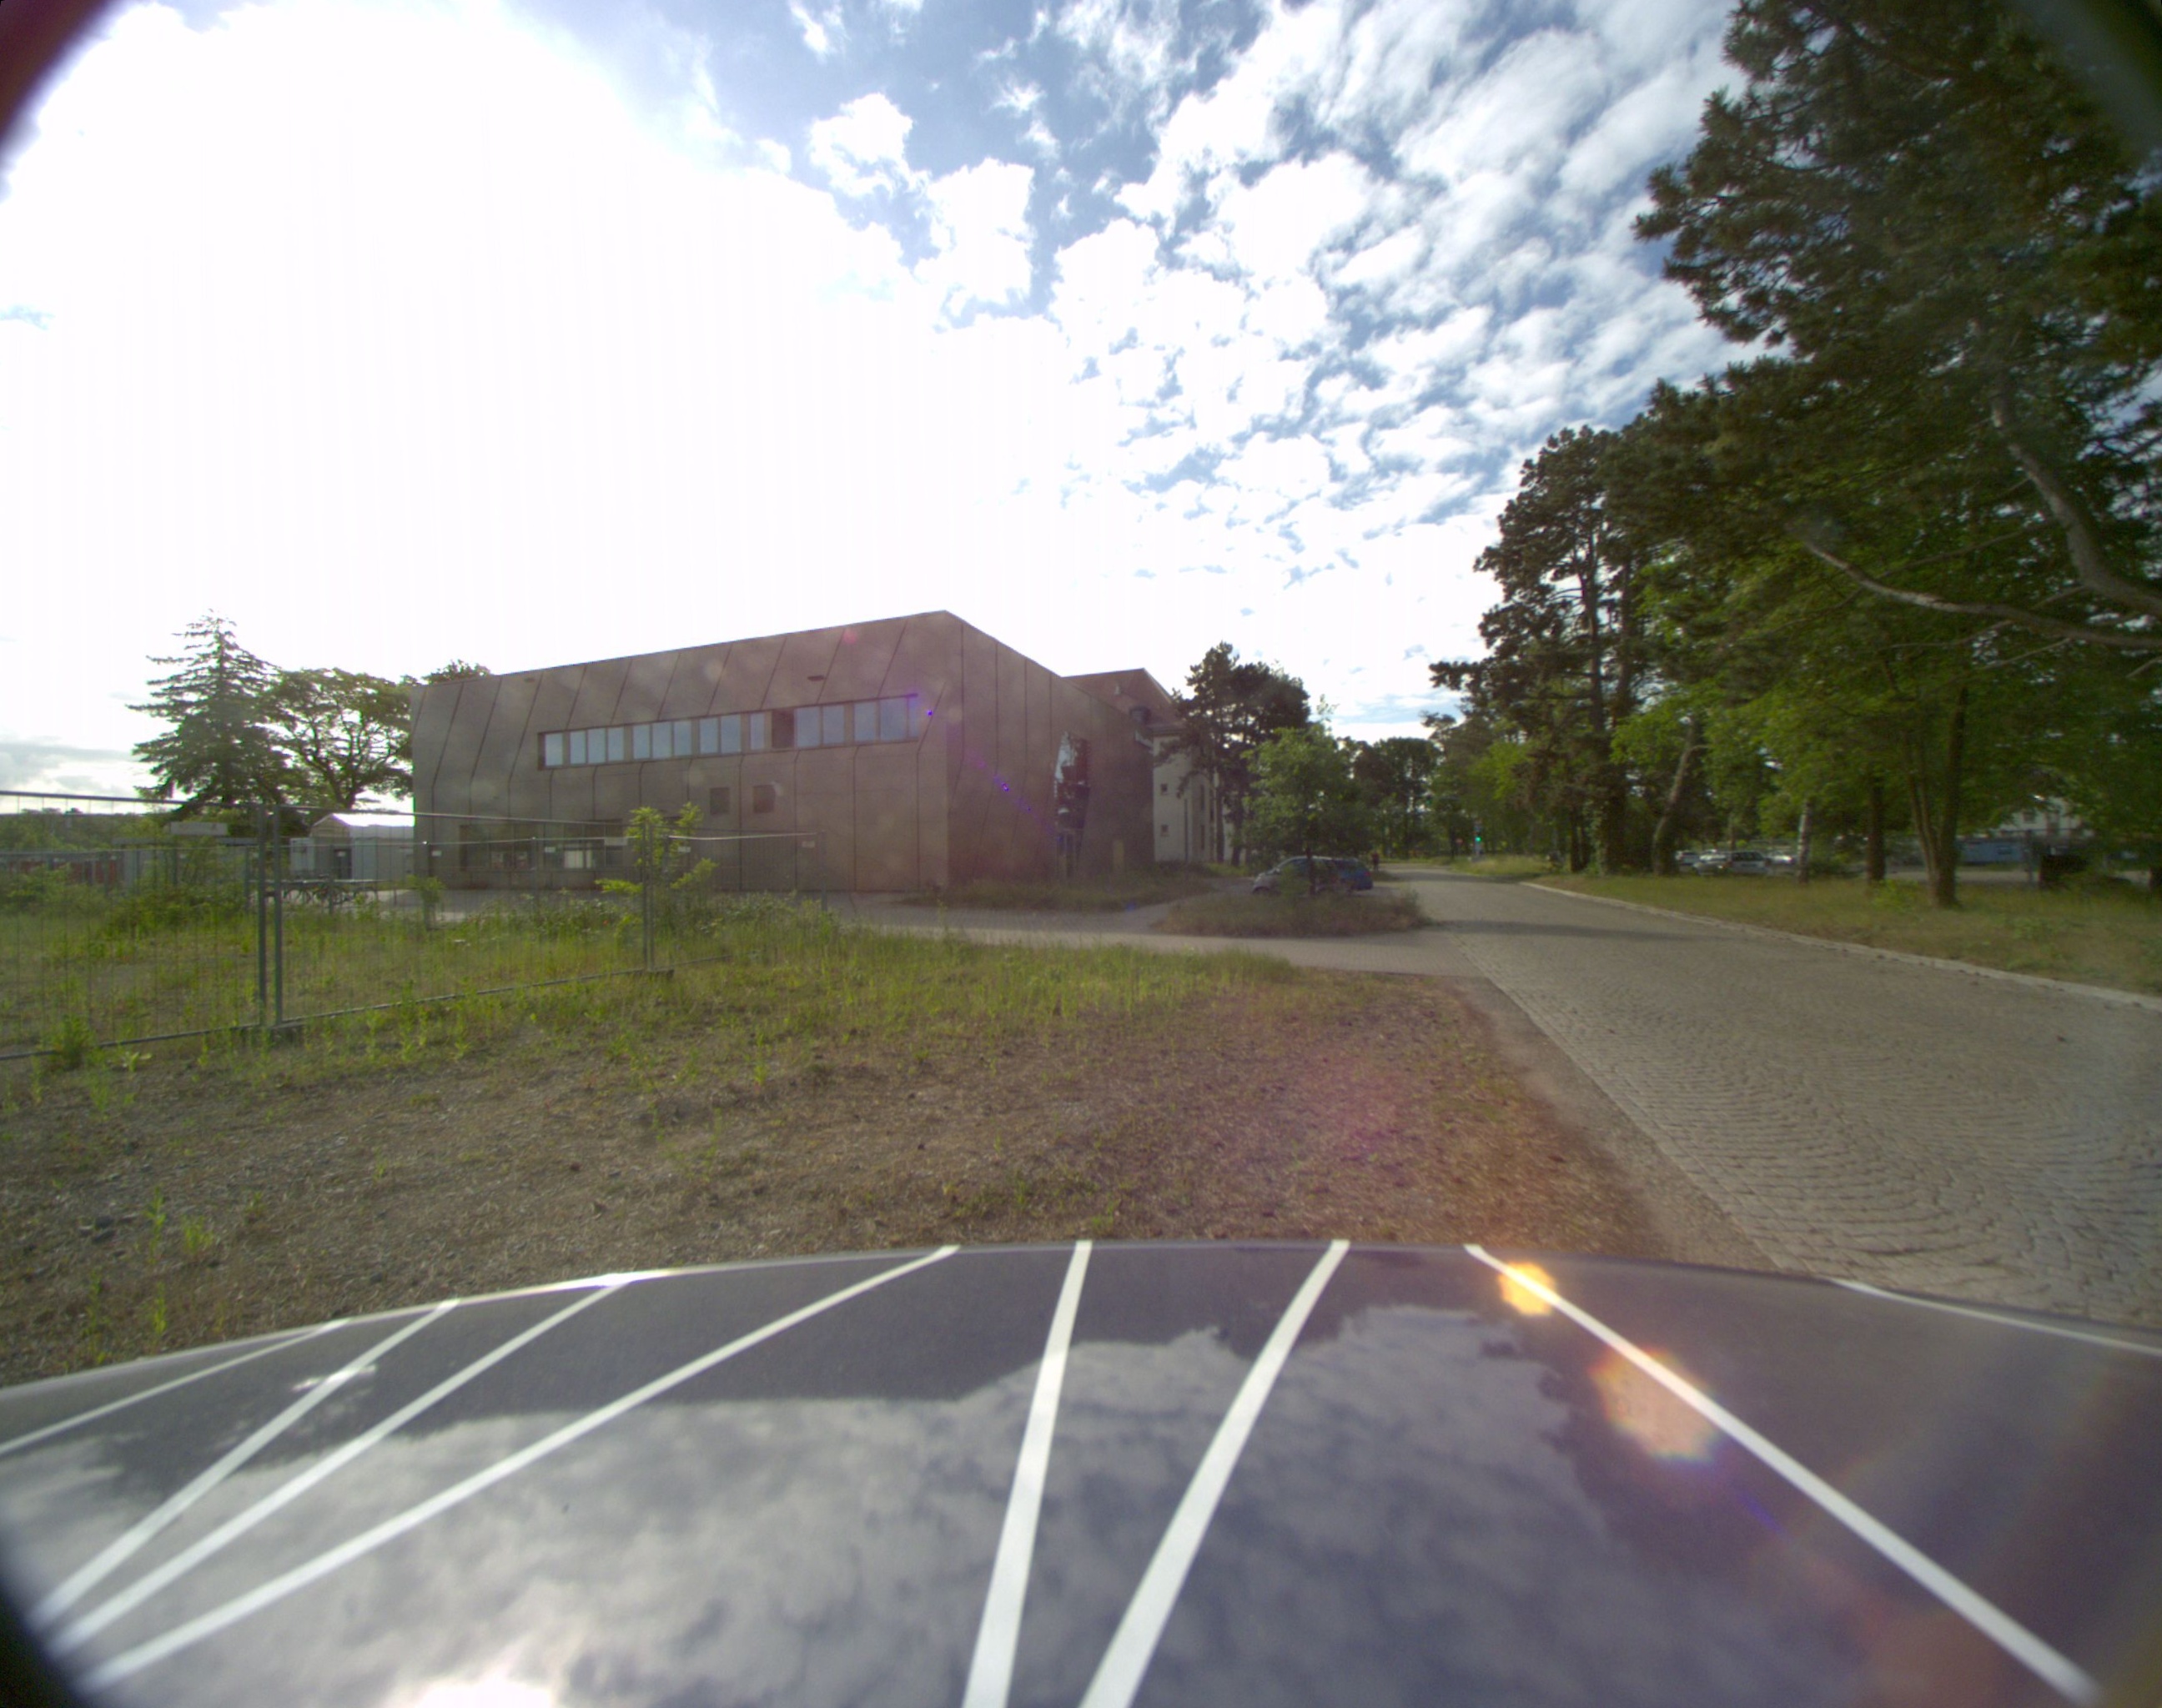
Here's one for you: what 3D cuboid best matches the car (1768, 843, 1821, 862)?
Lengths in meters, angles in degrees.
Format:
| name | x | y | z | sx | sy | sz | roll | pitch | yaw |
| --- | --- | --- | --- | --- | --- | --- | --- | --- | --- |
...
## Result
| name | x | y | z | sx | sy | sz | roll | pitch | yaw |
| --- | --- | --- | --- | --- | --- | --- | --- | --- | --- |
| car | 62.262 | -0.131 | 66.347 | 1.995 | 1.608 | 4.006 | -1 | 0 | 21 |

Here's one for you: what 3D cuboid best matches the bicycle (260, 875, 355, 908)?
| name | x | y | z | sx | sy | sz | roll | pitch | yaw |
| --- | --- | --- | --- | --- | --- | --- | --- | --- | --- |
| bicycle | -26.654 | 1.263 | 26.243 | 0.944 | 1.038 | 2.072 | 0 | 0 | 19 |

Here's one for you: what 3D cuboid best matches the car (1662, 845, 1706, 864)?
| name | x | y | z | sx | sy | sz | roll | pitch | yaw |
| --- | --- | --- | --- | --- | --- | --- | --- | --- | --- |
| car | 54.330 | 0.013 | 68.483 | 1.995 | 1.608 | 4.006 | -1 | 0 | 21 |

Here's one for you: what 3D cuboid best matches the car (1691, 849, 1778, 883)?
| name | x | y | z | sx | sy | sz | roll | pitch | yaw |
| --- | --- | --- | --- | --- | --- | --- | --- | --- | --- |
| car | 31.680 | 0.546 | 37.002 | 1.888 | 1.532 | 4.006 | 0 | 0 | 19 |

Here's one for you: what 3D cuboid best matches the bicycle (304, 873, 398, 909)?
| name | x | y | z | sx | sy | sz | roll | pitch | yaw |
| --- | --- | --- | --- | --- | --- | --- | --- | --- | --- |
| bicycle | -24.504 | 1.227 | 25.556 | 0.944 | 1.080 | 2.072 | 0 | 0 | 19 |

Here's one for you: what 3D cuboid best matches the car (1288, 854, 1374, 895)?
| name | x | y | z | sx | sy | sz | roll | pitch | yaw |
| --- | --- | --- | --- | --- | --- | --- | --- | --- | --- |
| car | 9.798 | 0.785 | 29.906 | 3.087 | 1.449 | 1.494 | 2 | 1 | 16 |

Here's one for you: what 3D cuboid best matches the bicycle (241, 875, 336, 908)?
| name | x | y | z | sx | sy | sz | roll | pitch | yaw |
| --- | --- | --- | --- | --- | --- | --- | --- | --- | --- |
| bicycle | -27.709 | 1.293 | 26.615 | 0.944 | 1.038 | 2.072 | 0 | 0 | 19 |

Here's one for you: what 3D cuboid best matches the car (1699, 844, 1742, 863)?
| name | x | y | z | sx | sy | sz | roll | pitch | yaw |
| --- | --- | --- | --- | --- | --- | --- | --- | --- | --- |
| car | 56.942 | -0.052 | 67.756 | 1.822 | 1.608 | 4.006 | -1 | 0 | 23 |

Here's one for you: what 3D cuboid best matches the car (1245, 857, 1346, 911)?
| name | x | y | z | sx | sy | sz | roll | pitch | yaw |
| --- | --- | --- | --- | --- | --- | --- | --- | --- | --- |
| car | 6.587 | 0.888 | 23.280 | 2.762 | 1.540 | 1.427 | -1 | 0 | 25 |

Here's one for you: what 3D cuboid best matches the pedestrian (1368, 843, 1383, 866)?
| name | x | y | z | sx | sy | sz | roll | pitch | yaw |
| --- | --- | --- | --- | --- | --- | --- | --- | --- | --- |
| pedestrian | 24.054 | 0.038 | 62.020 | 0.958 | 1.833 | 0.956 | -1 | 1 | 7 |

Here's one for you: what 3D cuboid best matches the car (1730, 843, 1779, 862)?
| name | x | y | z | sx | sy | sz | roll | pitch | yaw |
| --- | --- | --- | --- | --- | --- | --- | --- | --- | --- |
| car | 59.411 | -0.106 | 67.115 | 1.995 | 1.608 | 4.006 | -1 | 0 | 21 |

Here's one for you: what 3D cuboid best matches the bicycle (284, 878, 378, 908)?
| name | x | y | z | sx | sy | sz | roll | pitch | yaw |
| --- | --- | --- | --- | --- | --- | --- | --- | --- | --- |
| bicycle | -25.655 | 1.318 | 26.044 | 0.944 | 0.916 | 2.072 | 0 | 0 | 19 |
